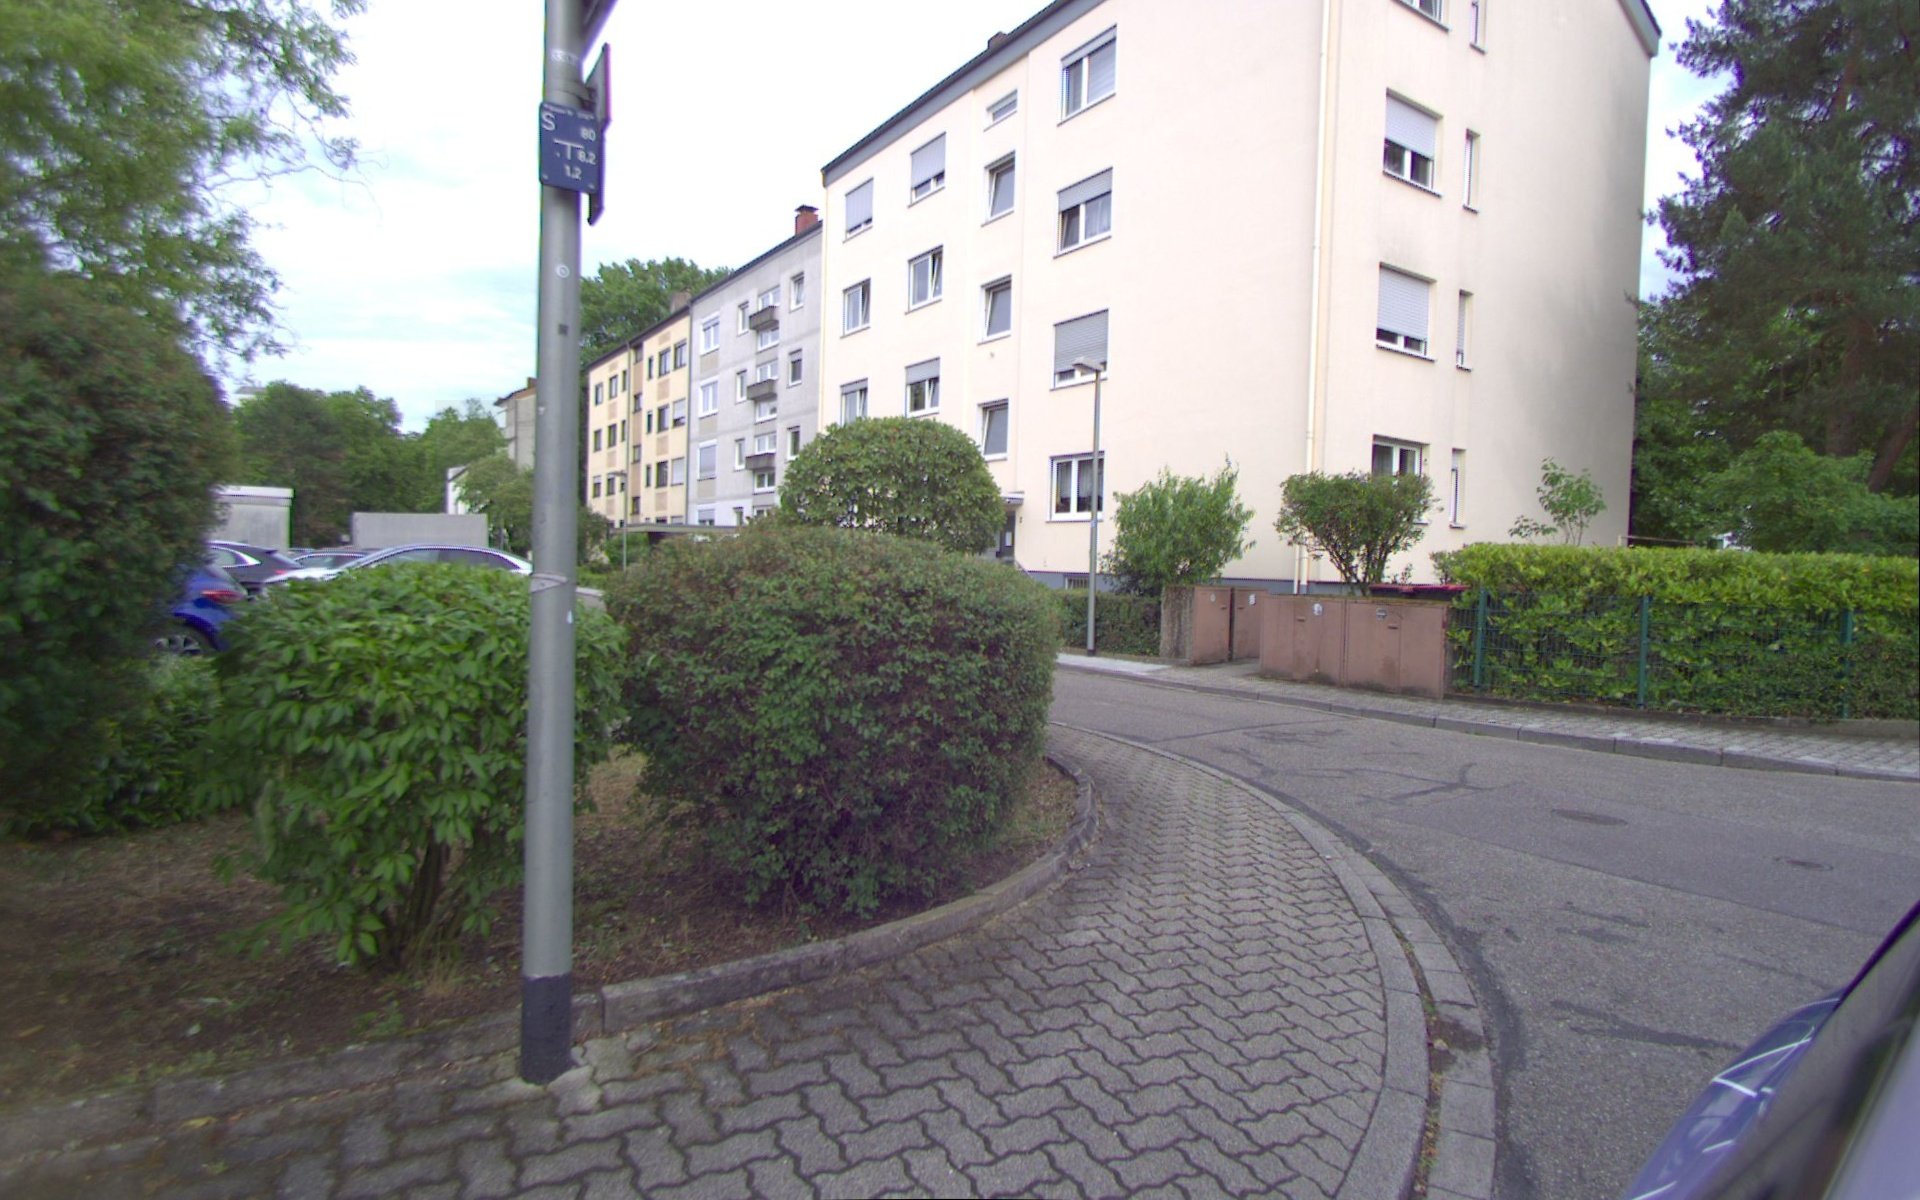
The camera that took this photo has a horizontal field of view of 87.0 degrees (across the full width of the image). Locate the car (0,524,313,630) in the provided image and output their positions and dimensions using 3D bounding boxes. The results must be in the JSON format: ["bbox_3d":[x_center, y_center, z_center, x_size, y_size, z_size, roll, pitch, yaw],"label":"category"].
[{"bbox_3d":[-13.281,-0.413,17.000,3.927,1.571,2.000,0,3,-38],"label":"car"}]

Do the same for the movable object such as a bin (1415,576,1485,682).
[{"bbox_3d":[5.787,0.337,11.949,0.497,1.202,0.515,2,1,-35],"label":"movable object such as a bin"}]

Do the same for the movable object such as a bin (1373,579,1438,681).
[{"bbox_3d":[5.460,0.350,12.400,0.497,1.202,0.515,0,2,-35],"label":"movable object such as a bin"}]

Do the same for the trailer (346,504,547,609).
[{"bbox_3d":[-13.494,-1.112,26.680,4.535,2.556,1.944,0,2,-34],"label":"trailer"}]

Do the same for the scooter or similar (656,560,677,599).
[{"bbox_3d":[-9.445,-0.659,32.521,0.268,1.226,1.165,1,1,-35],"label":"scooter or similar"}]

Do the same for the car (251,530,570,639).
[{"bbox_3d":[-9.097,-0.255,16.984,4.463,1.608,1.990,1,2,-33],"label":"car"}]

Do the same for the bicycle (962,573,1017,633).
[{"bbox_3d":[0.561,0.036,19.867,0.313,1.088,1.419,-1,3,-33],"label":"bicycle"}]

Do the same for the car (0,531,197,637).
[{"bbox_3d":[-13.222,-0.248,14.262,3.835,1.398,1.972,0,2,-34],"label":"car"}]

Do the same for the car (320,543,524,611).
[{"bbox_3d":[-12.608,-0.529,23.800,4.062,1.466,1.613,1,2,-35],"label":"car"}]

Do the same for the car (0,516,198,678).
[{"bbox_3d":[-10.066,-0.069,10.075,3.835,1.529,2.028,0,2,-34],"label":"car"}]
